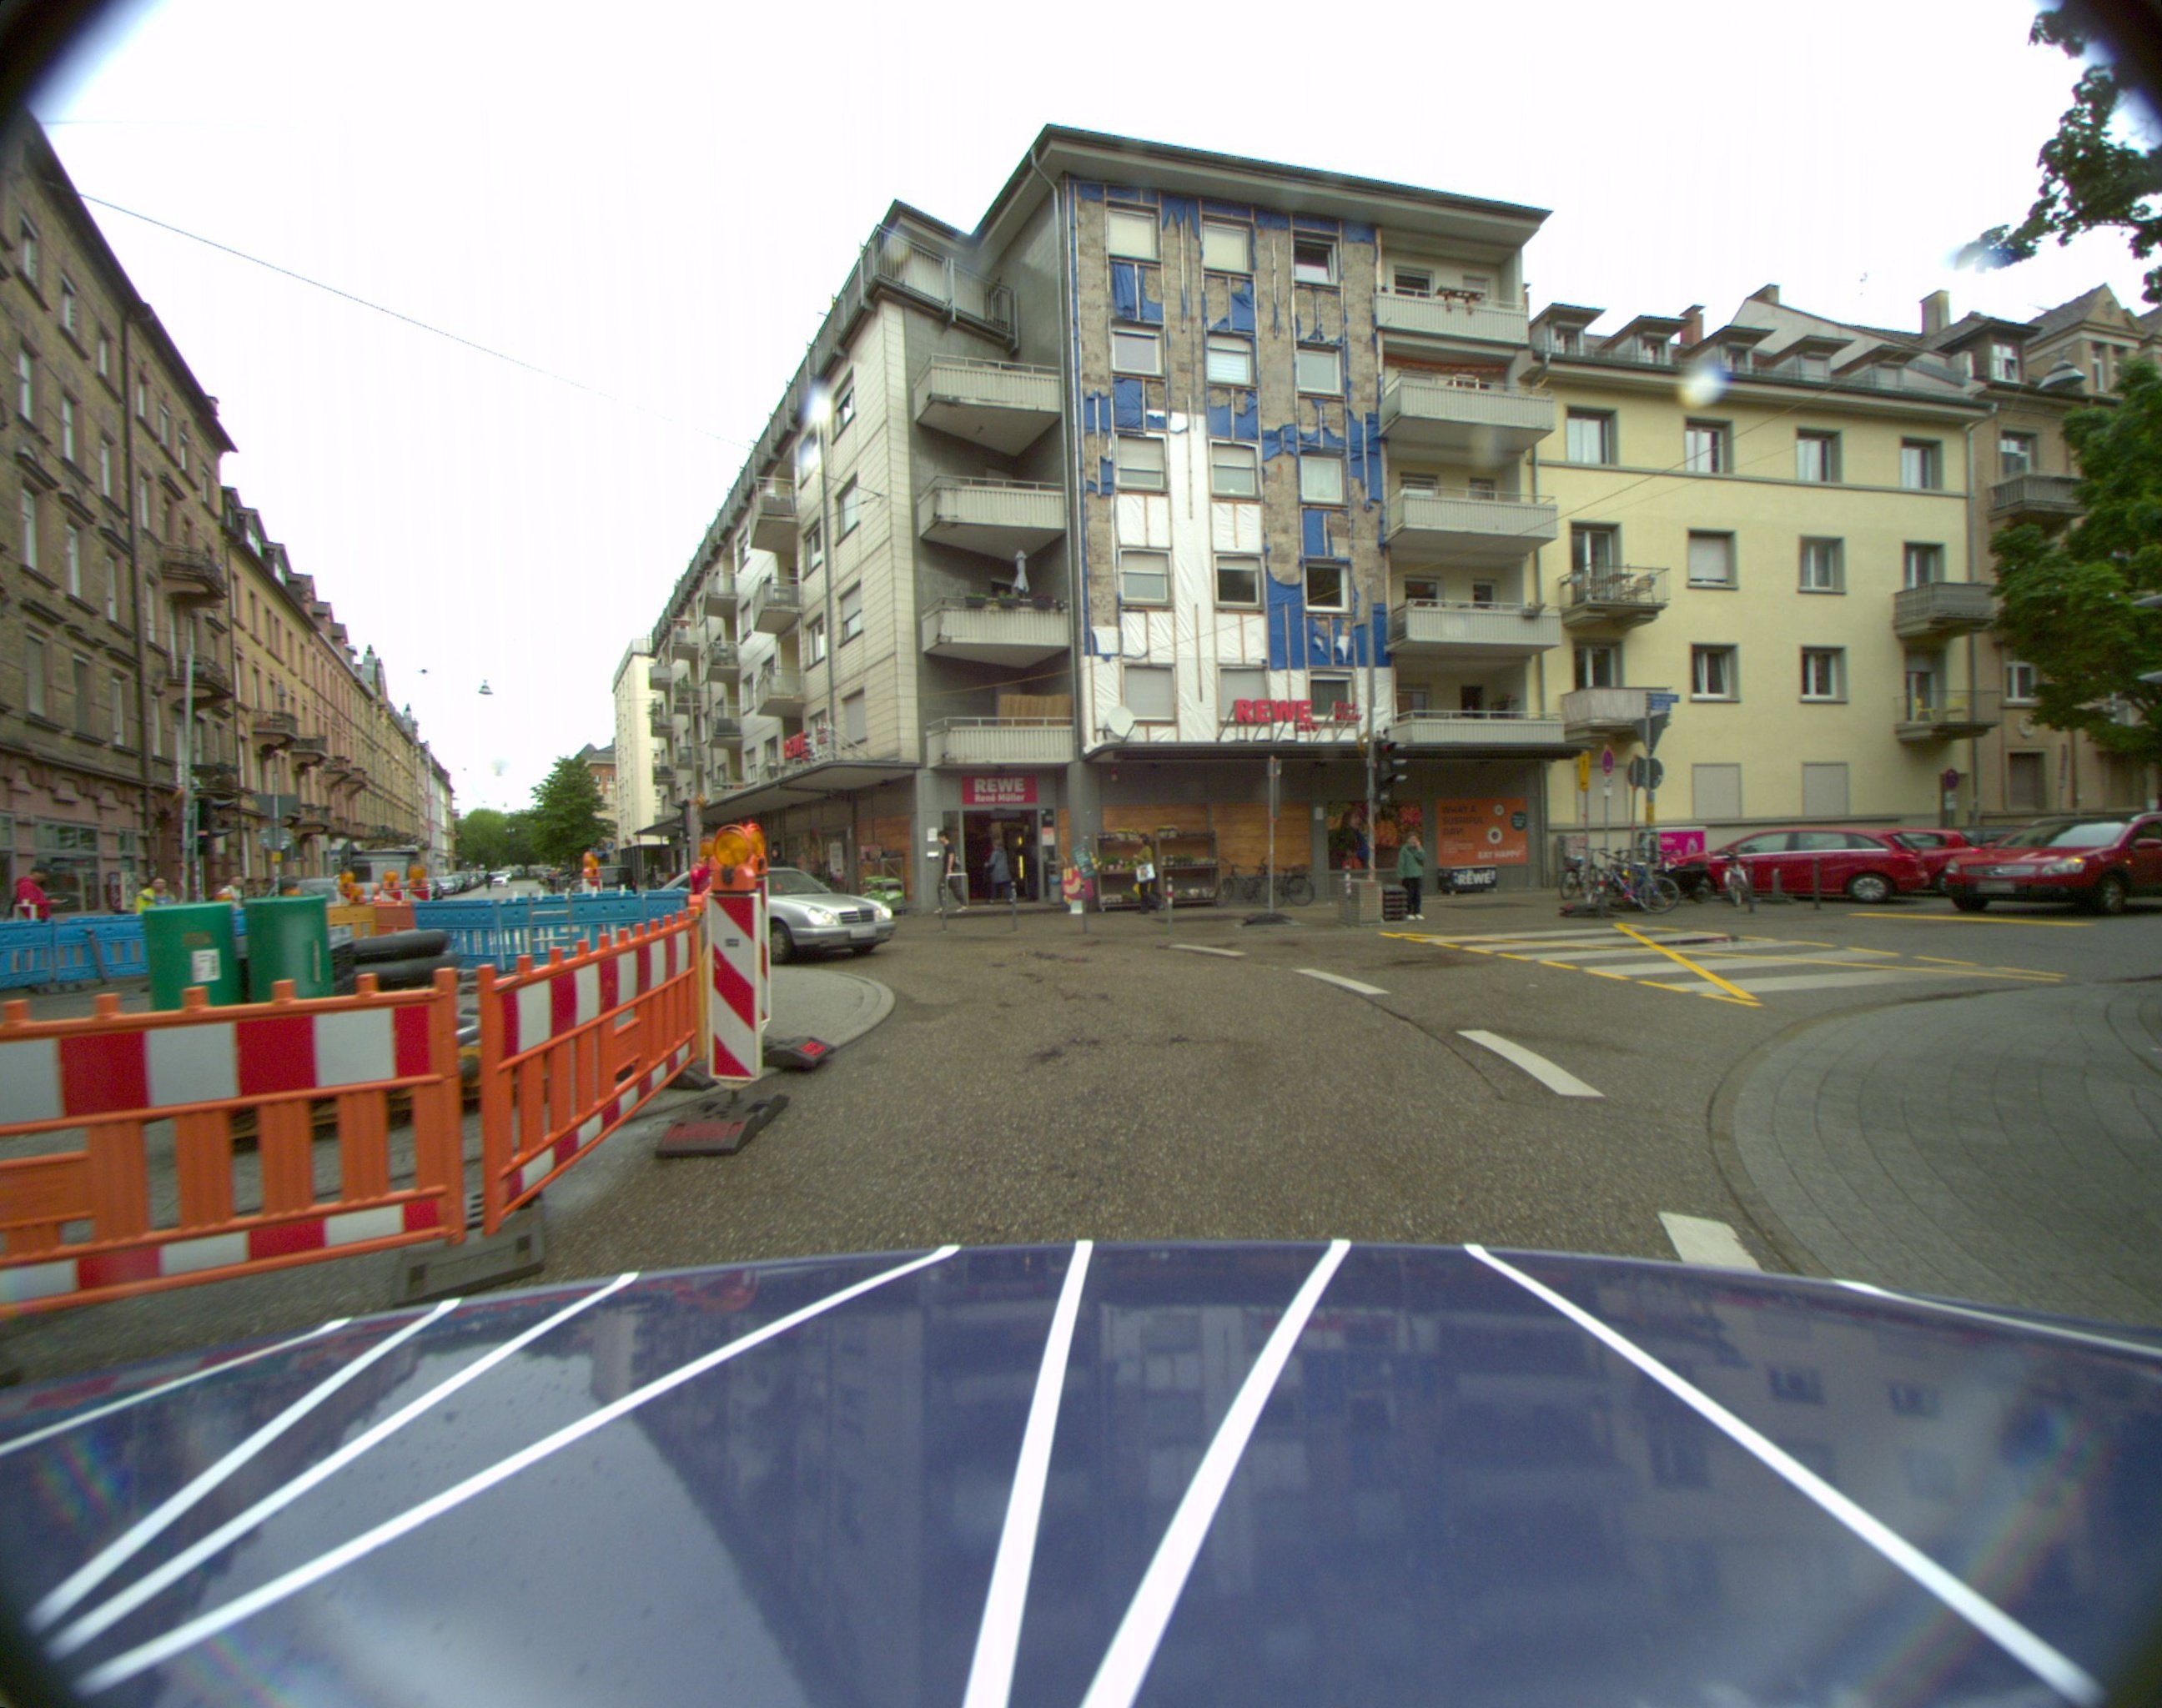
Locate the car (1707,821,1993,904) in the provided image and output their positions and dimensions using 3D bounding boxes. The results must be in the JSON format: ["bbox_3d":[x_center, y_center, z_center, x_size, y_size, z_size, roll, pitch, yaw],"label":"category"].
[{"bbox_3d":[17.535,0.200,17.566,2.004,1.661,4.447,-3,1,-42],"label":"car"}]

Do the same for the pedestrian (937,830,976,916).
[{"bbox_3d":[-2.810,0.422,17.232,0.719,1.887,0.604,-2,2,-1],"label":"pedestrian"}]

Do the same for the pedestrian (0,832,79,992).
[{"bbox_3d":[-17.503,0.938,12.695,0.539,2.594,0.696,-1,2,22],"label":"pedestrian"}]

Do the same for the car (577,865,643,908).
[{"bbox_3d":[-21.510,1.440,34.659,1.906,1.779,3.989,-3,1,-40],"label":"car"}]

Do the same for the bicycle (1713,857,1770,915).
[{"bbox_3d":[13.033,0.590,14.978,2.005,0.966,0.588,-4,3,-41],"label":"bicycle"}]

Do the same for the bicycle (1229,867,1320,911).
[{"bbox_3d":[4.472,0.803,17.582,1.997,0.965,0.590,0,1,19],"label":"bicycle"}]

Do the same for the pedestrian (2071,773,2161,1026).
[{"bbox_3d":[9.002,0.347,6.103,0.944,2.002,0.864,-2,1,-1],"label":"pedestrian"}]

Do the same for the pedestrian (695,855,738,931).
[{"bbox_3d":[-9.173,0.964,19.117,0.864,1.837,0.768,-3,1,-28],"label":"pedestrian"}]

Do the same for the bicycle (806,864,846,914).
[{"bbox_3d":[-7.443,0.991,22.084,0.451,1.366,2.018,-6,2,-34],"label":"bicycle"}]

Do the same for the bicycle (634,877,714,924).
[{"bbox_3d":[-12.415,1.389,23.185,2.036,1.189,0.549,-5,2,-31],"label":"bicycle"}]

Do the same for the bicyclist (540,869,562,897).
[{"bbox_3d":[-32.133,1.737,46.051,0.995,1.591,1.259,-3,1,-38],"label":"bicyclist"}]

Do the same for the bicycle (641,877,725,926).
[{"bbox_3d":[-11.564,1.348,22.108,2.026,1.189,0.549,-5,2,-31],"label":"bicycle"}]

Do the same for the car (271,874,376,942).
[{"bbox_3d":[-22.895,1.552,23.113,1.906,1.779,3.989,-3,1,-40],"label":"car"}]

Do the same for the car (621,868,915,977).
[{"bbox_3d":[-5.159,0.969,12.248,4.966,1.390,1.864,-1,1,33],"label":"car"}]

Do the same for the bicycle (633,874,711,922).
[{"bbox_3d":[-12.733,1.353,23.694,2.026,1.271,0.549,-5,2,-31],"label":"bicycle"}]

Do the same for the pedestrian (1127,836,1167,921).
[{"bbox_3d":[1.413,0.503,16.355,0.693,1.755,0.864,-2,2,-1],"label":"pedestrian"}]

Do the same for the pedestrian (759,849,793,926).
[{"bbox_3d":[-7.553,0.807,18.809,0.605,1.837,0.768,-3,1,-28],"label":"pedestrian"}]

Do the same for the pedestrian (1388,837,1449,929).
[{"bbox_3d":[6.114,0.502,13.797,0.799,1.606,0.604,-2,2,-1],"label":"pedestrian"}]

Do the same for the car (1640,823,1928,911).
[{"bbox_3d":[15.281,0.273,16.706,2.004,1.671,4.447,-3,1,-42],"label":"car"}]

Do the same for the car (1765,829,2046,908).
[{"bbox_3d":[19.819,0.345,18.520,2.004,1.661,4.447,-3,1,-42],"label":"car"}]

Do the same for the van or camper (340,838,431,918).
[{"bbox_3d":[-32.241,1.090,35.442,2.417,3.308,7.055,-3,1,-38],"label":"van or camper"}]

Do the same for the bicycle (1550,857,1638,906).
[{"bbox_3d":[11.624,0.605,17.207,2.003,0.966,0.588,-3,3,-20],"label":"bicycle"}]

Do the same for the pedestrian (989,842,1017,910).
[{"bbox_3d":[-1.878,0.515,18.361,0.545,1.575,0.694,-2,2,-1],"label":"pedestrian"}]

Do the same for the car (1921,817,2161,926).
[{"bbox_3d":[17.187,0.242,12.951,4.388,1.630,1.842,-2,-1,-12],"label":"car"}]

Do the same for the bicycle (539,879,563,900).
[{"bbox_3d":[-32.122,2.143,46.064,0.995,1.149,2.869,-3,1,-38],"label":"bicycle"}]

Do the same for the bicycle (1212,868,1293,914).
[{"bbox_3d":[3.834,0.830,16.968,1.688,0.965,0.569,-2,1,19],"label":"bicycle"}]

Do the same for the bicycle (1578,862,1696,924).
[{"bbox_3d":[10.385,0.695,14.291,0.589,0.966,1.999,-2,2,-7],"label":"bicycle"}]
